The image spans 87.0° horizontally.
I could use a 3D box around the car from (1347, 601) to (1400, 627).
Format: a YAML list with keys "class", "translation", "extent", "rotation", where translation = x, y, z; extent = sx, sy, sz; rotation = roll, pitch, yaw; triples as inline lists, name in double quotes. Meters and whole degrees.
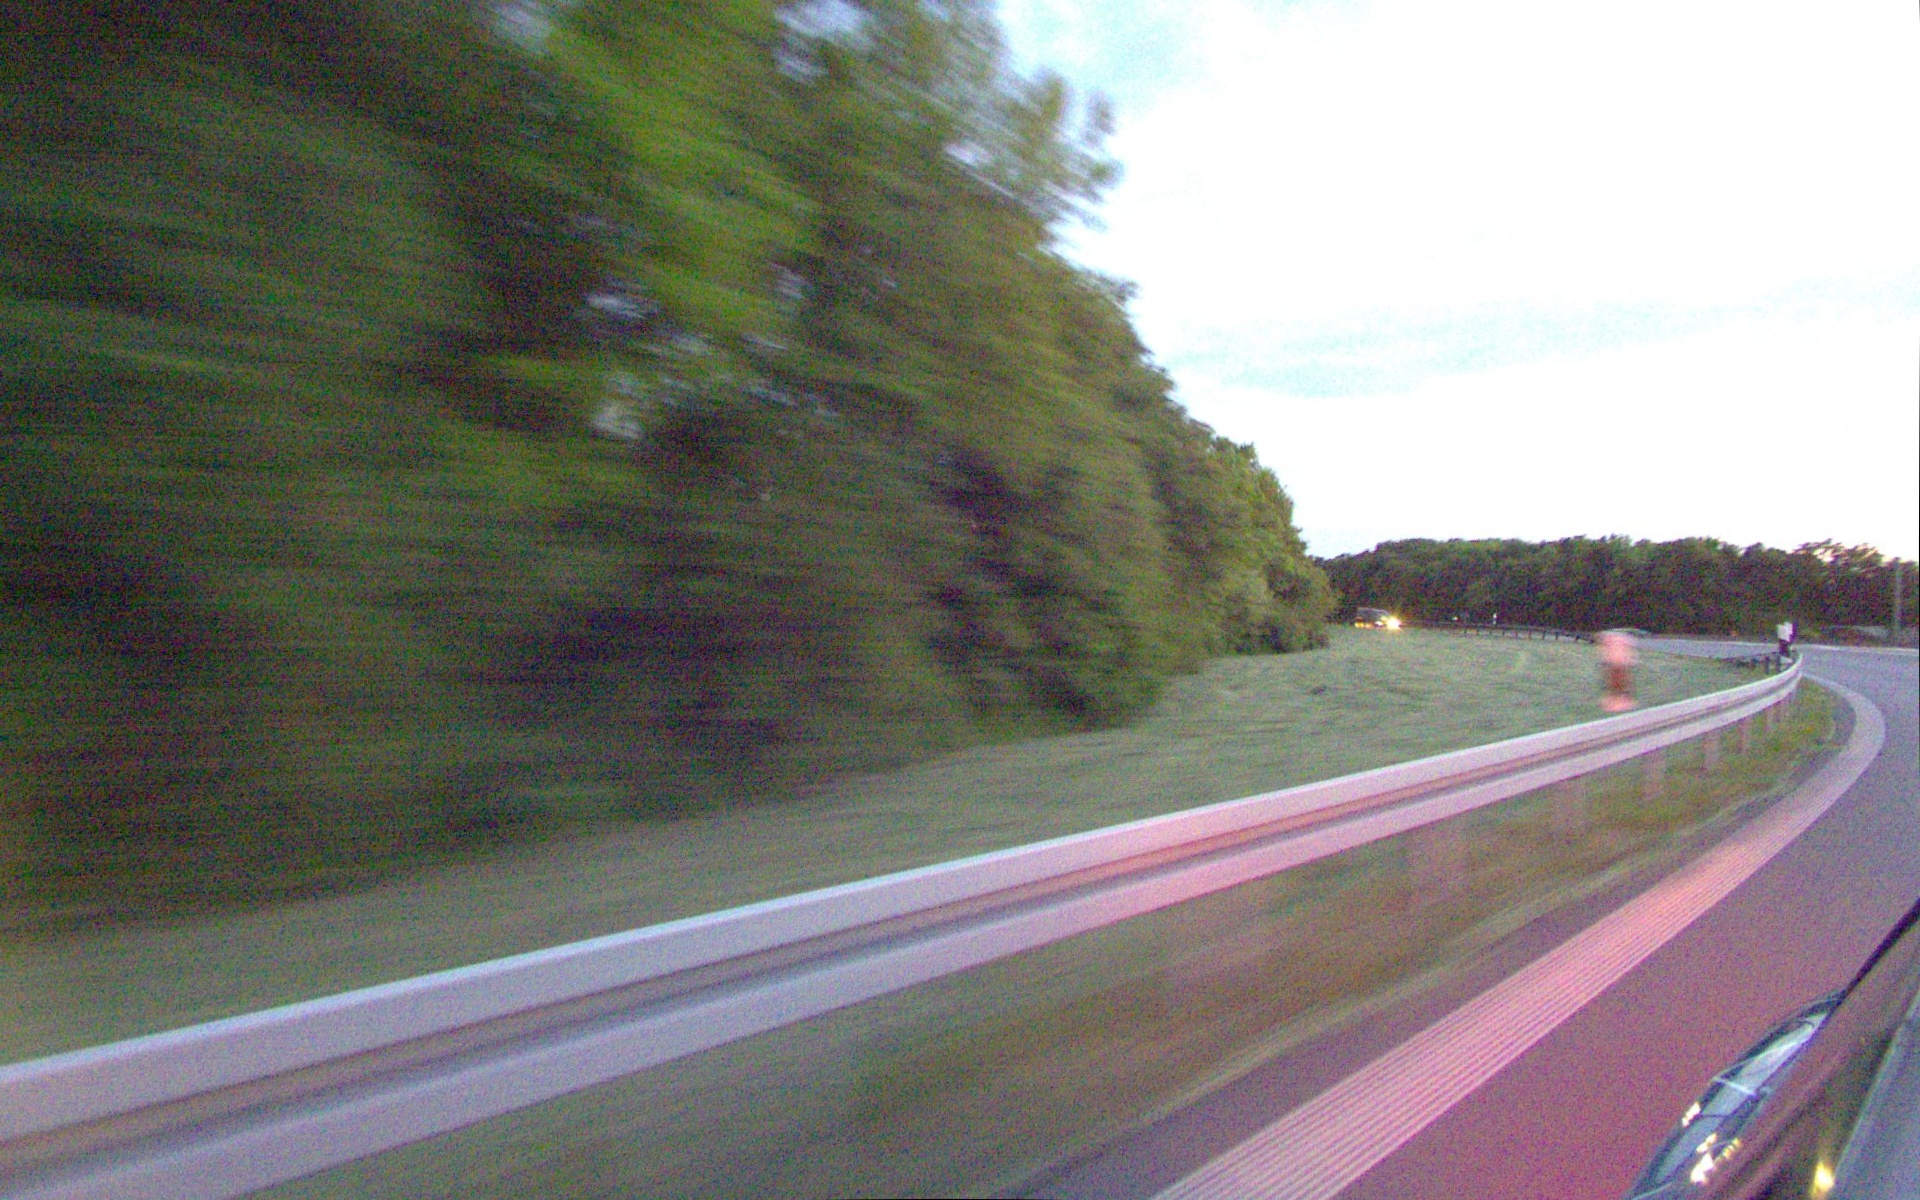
- class: "car"
  translation: [42.841, 1.414, 105.079]
  extent: [2.219, 2.560, 6.505]
  rotation: [0, 0, -6]
